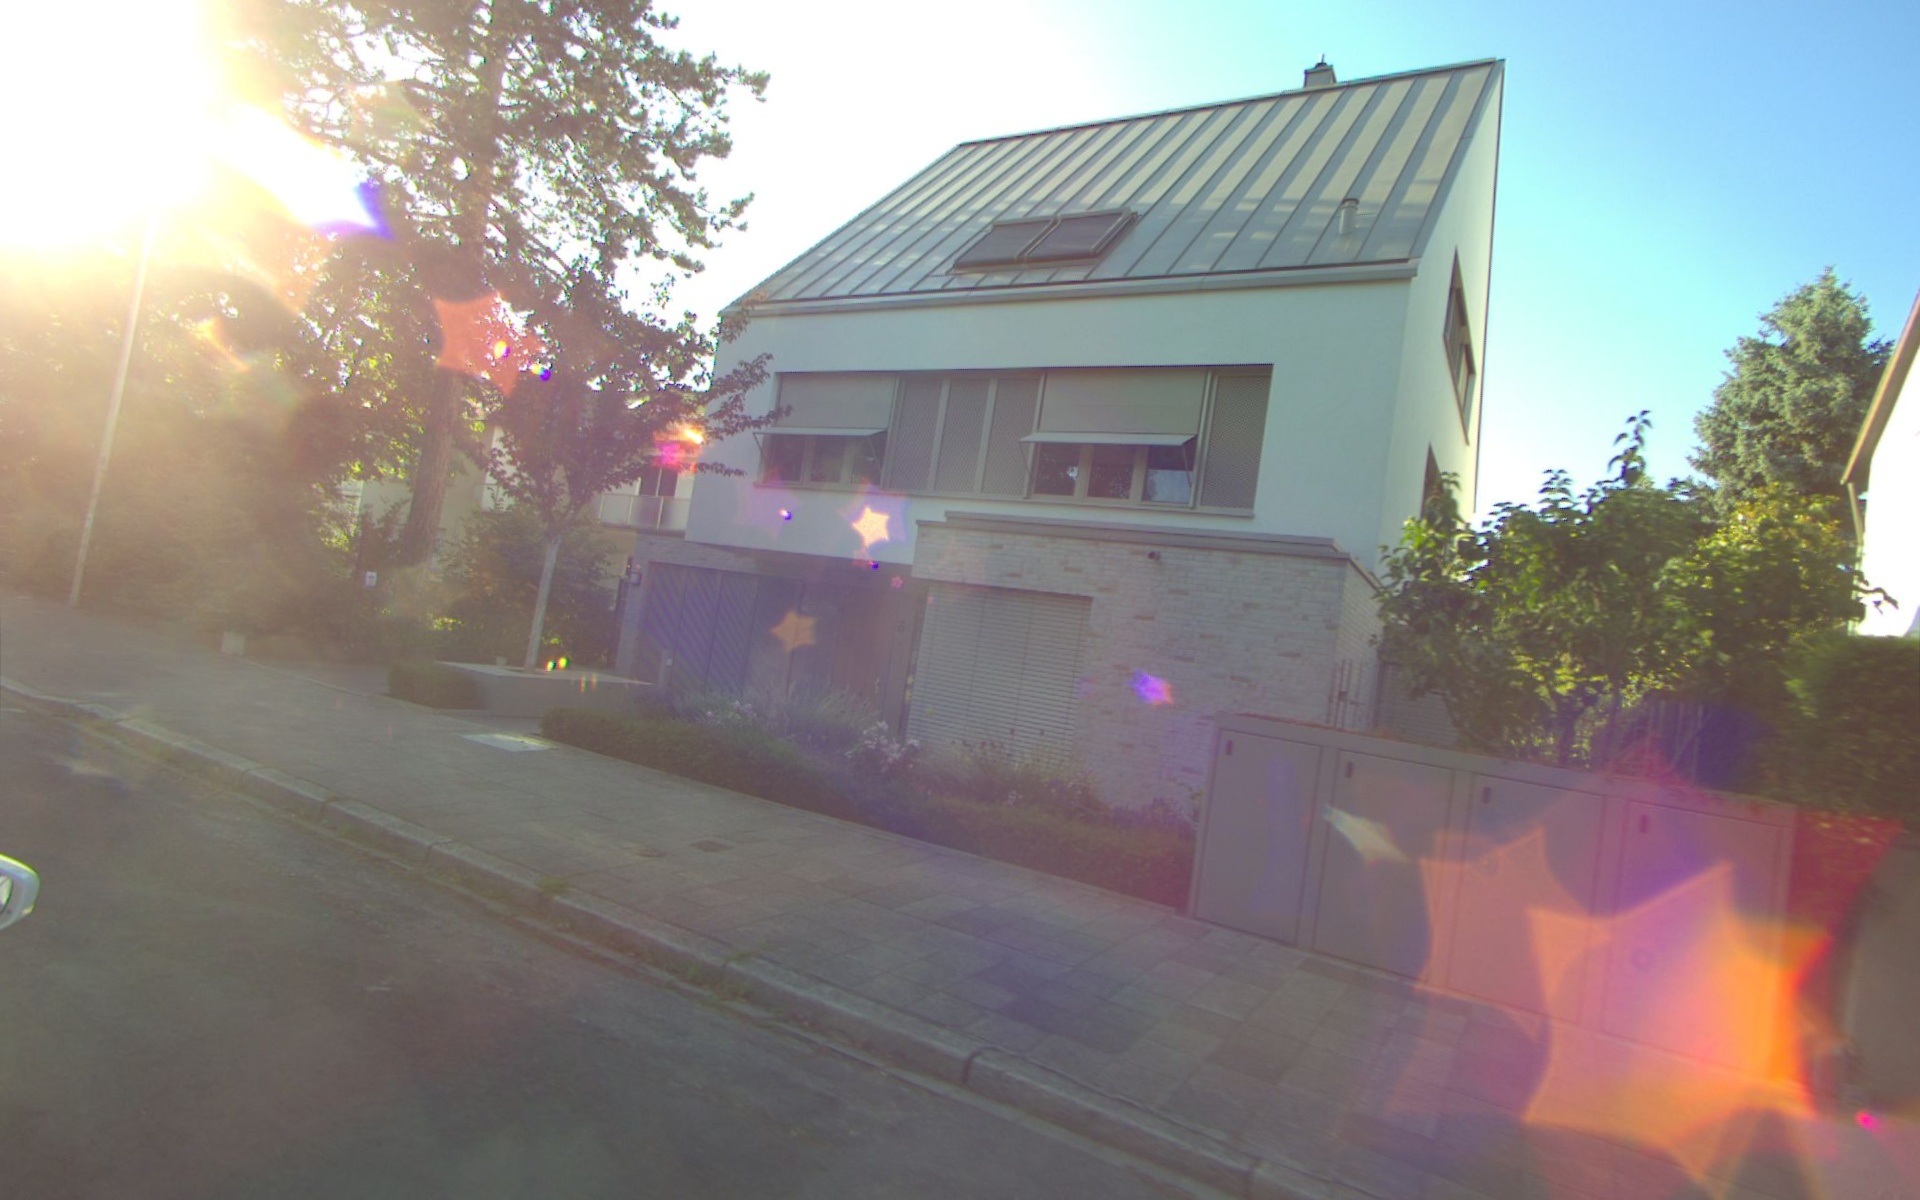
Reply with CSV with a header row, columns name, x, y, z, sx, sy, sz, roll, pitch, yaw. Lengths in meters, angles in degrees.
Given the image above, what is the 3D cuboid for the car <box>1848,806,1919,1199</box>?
name,x,y,z,sx,sy,sz,roll,pitch,yaw
car,3.471,1.302,0.503,4.214,1.491,1.757,7,-5,29
